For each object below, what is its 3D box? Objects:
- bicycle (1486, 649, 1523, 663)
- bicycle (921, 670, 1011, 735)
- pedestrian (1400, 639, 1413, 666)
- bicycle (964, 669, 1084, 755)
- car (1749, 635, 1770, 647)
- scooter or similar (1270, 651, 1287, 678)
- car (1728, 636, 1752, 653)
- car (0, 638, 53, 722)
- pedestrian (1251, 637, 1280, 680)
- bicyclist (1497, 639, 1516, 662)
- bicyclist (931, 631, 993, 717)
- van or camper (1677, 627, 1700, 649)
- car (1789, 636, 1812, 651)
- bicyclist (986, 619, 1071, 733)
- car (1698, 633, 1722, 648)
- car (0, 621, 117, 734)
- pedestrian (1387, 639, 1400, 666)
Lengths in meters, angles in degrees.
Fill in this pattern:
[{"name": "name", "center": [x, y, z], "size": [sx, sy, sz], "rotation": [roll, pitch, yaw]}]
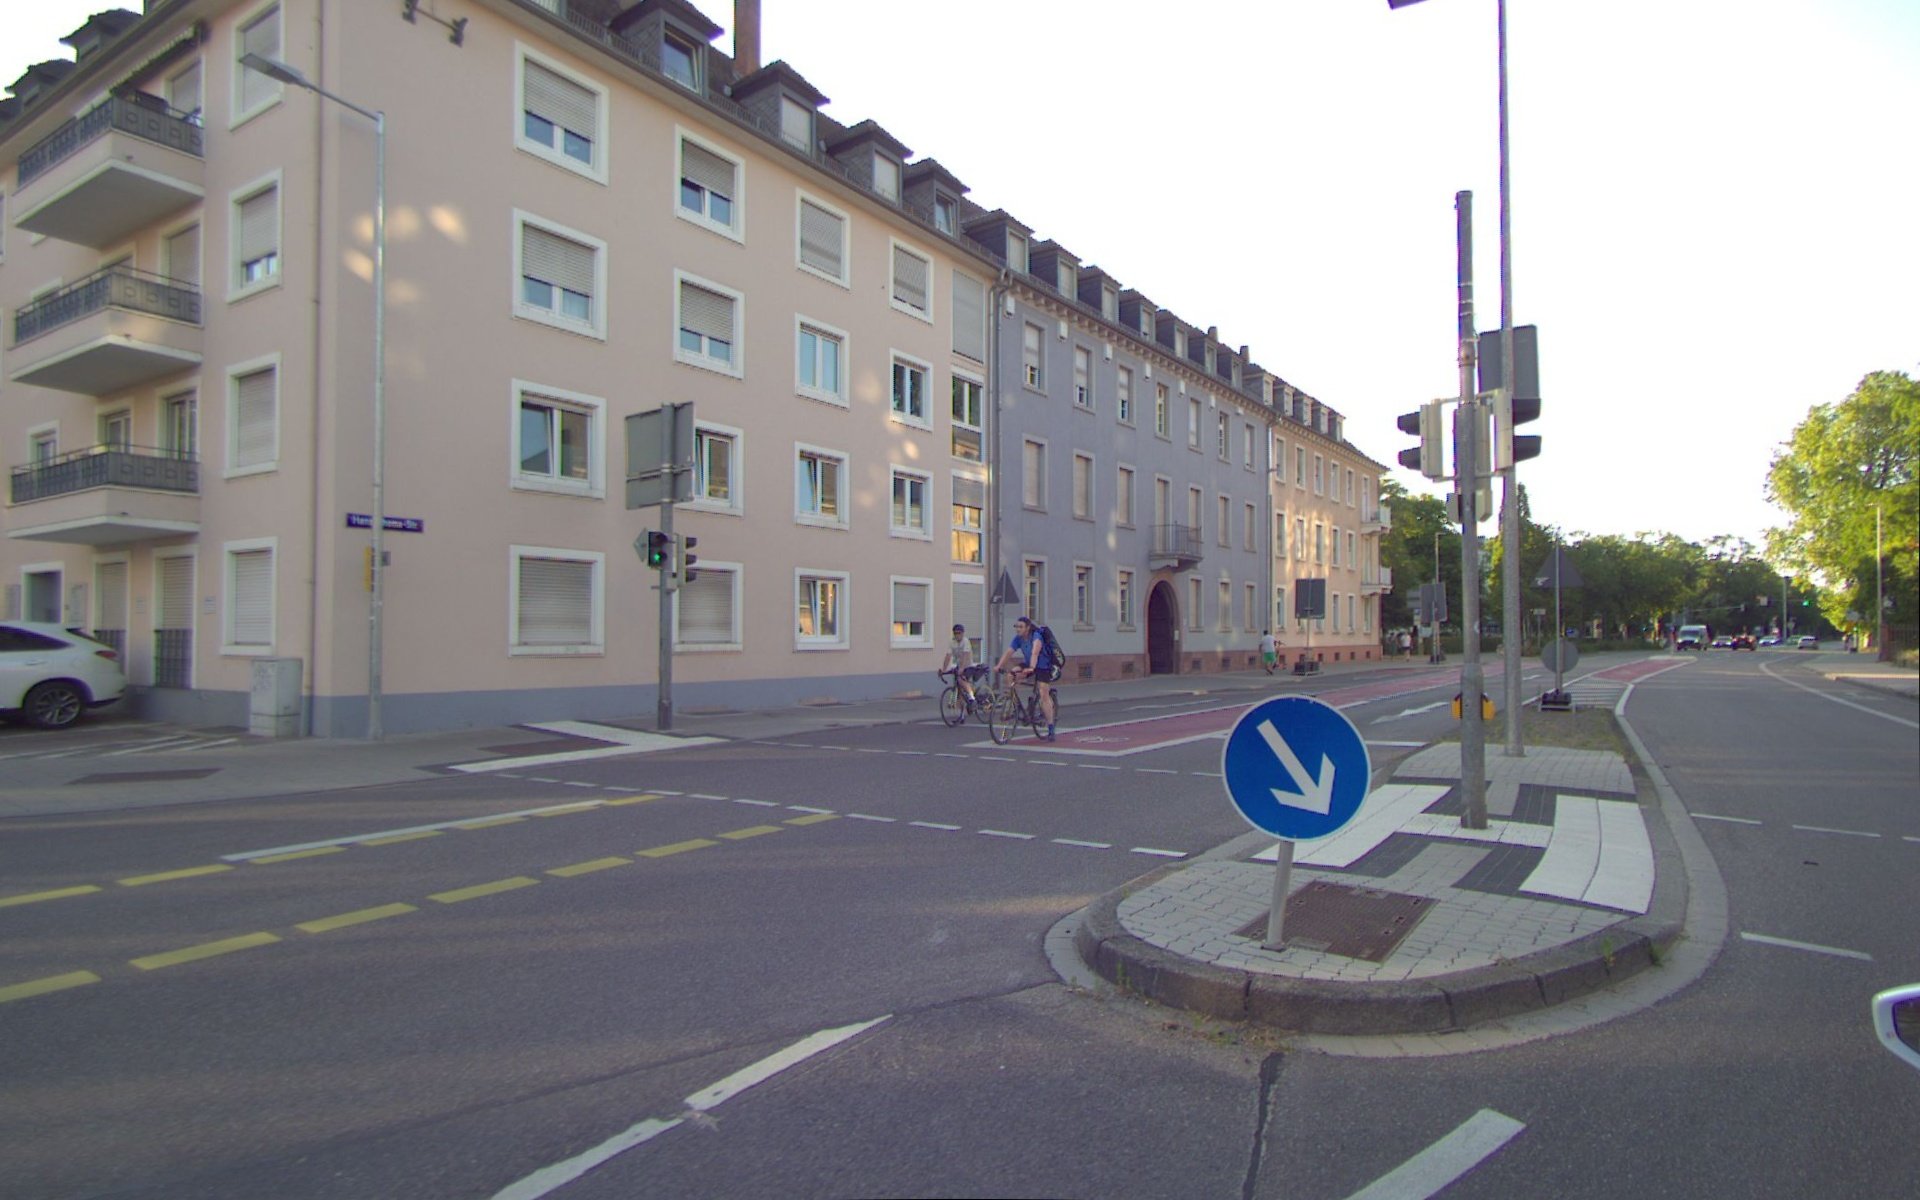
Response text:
[{"name": "bicycle", "center": [37.229, 3.838, 68.685], "size": [2.152, 0.941, 0.773], "rotation": [0, -2, -2]}, {"name": "bicycle", "center": [0.127, 1.784, 17.739], "size": [0.712, 1.024, 1.682], "rotation": [-2, -3, 39]}, {"name": "pedestrian", "center": [26.216, 3.083, 59.027], "size": [0.606, 1.595, 0.723], "rotation": [-1, -2, 30]}, {"name": "bicycle", "center": [0.946, 1.556, 14.359], "size": [0.712, 1.081, 1.993], "rotation": [-2, -3, 38]}, {"name": "car", "center": [113.361, 5.801, 142.350], "size": [1.972, 1.743, 3.977], "rotation": [-2, -3, 43]}, {"name": "scooter or similar", "center": [14.083, 2.853, 44.458], "size": [0.391, 1.143, 0.857], "rotation": [-2, -3, 41]}, {"name": "car", "center": [83.451, 4.766, 107.483], "size": [1.970, 1.743, 3.983], "rotation": [-2, -3, 39]}, {"name": "car", "center": [-17.677, 1.376, 16.161], "size": [1.705, 1.399, 4.272], "rotation": [-1, -1, 30]}, {"name": "pedestrian", "center": [12.162, 2.343, 40.019], "size": [0.864, 1.674, 0.807], "rotation": [-1, -5, 37]}, {"name": "bicyclist", "center": [37.385, 3.447, 68.714], "size": [0.856, 1.617, 0.754], "rotation": [0, -2, -2]}, {"name": "bicyclist", "center": [0.042, 1.285, 17.655], "size": [0.702, 1.459, 0.890], "rotation": [-2, -3, 39]}, {"name": "van or camper", "center": [76.661, 4.011, 105.678], "size": [1.806, 2.223, 4.405], "rotation": [-2, -3, 37]}, {"name": "car", "center": [99.739, 5.166, 119.146], "size": [1.972, 1.743, 3.979], "rotation": [-2, -3, 42]}, {"name": "bicyclist", "center": [0.991, 1.069, 14.429], "size": [0.702, 1.564, 1.120], "rotation": [-2, -3, 39]}, {"name": "car", "center": [90.518, 4.872, 121.245], "size": [1.971, 1.743, 3.980], "rotation": [-2, -3, 41]}, {"name": "car", "center": [-15.470, 1.183, 14.689], "size": [1.908, 1.662, 4.446], "rotation": [-1, -1, 30]}, {"name": "pedestrian", "center": [25.661, 3.107, 59.426], "size": [0.606, 1.554, 0.689], "rotation": [-1, -2, 30]}]
